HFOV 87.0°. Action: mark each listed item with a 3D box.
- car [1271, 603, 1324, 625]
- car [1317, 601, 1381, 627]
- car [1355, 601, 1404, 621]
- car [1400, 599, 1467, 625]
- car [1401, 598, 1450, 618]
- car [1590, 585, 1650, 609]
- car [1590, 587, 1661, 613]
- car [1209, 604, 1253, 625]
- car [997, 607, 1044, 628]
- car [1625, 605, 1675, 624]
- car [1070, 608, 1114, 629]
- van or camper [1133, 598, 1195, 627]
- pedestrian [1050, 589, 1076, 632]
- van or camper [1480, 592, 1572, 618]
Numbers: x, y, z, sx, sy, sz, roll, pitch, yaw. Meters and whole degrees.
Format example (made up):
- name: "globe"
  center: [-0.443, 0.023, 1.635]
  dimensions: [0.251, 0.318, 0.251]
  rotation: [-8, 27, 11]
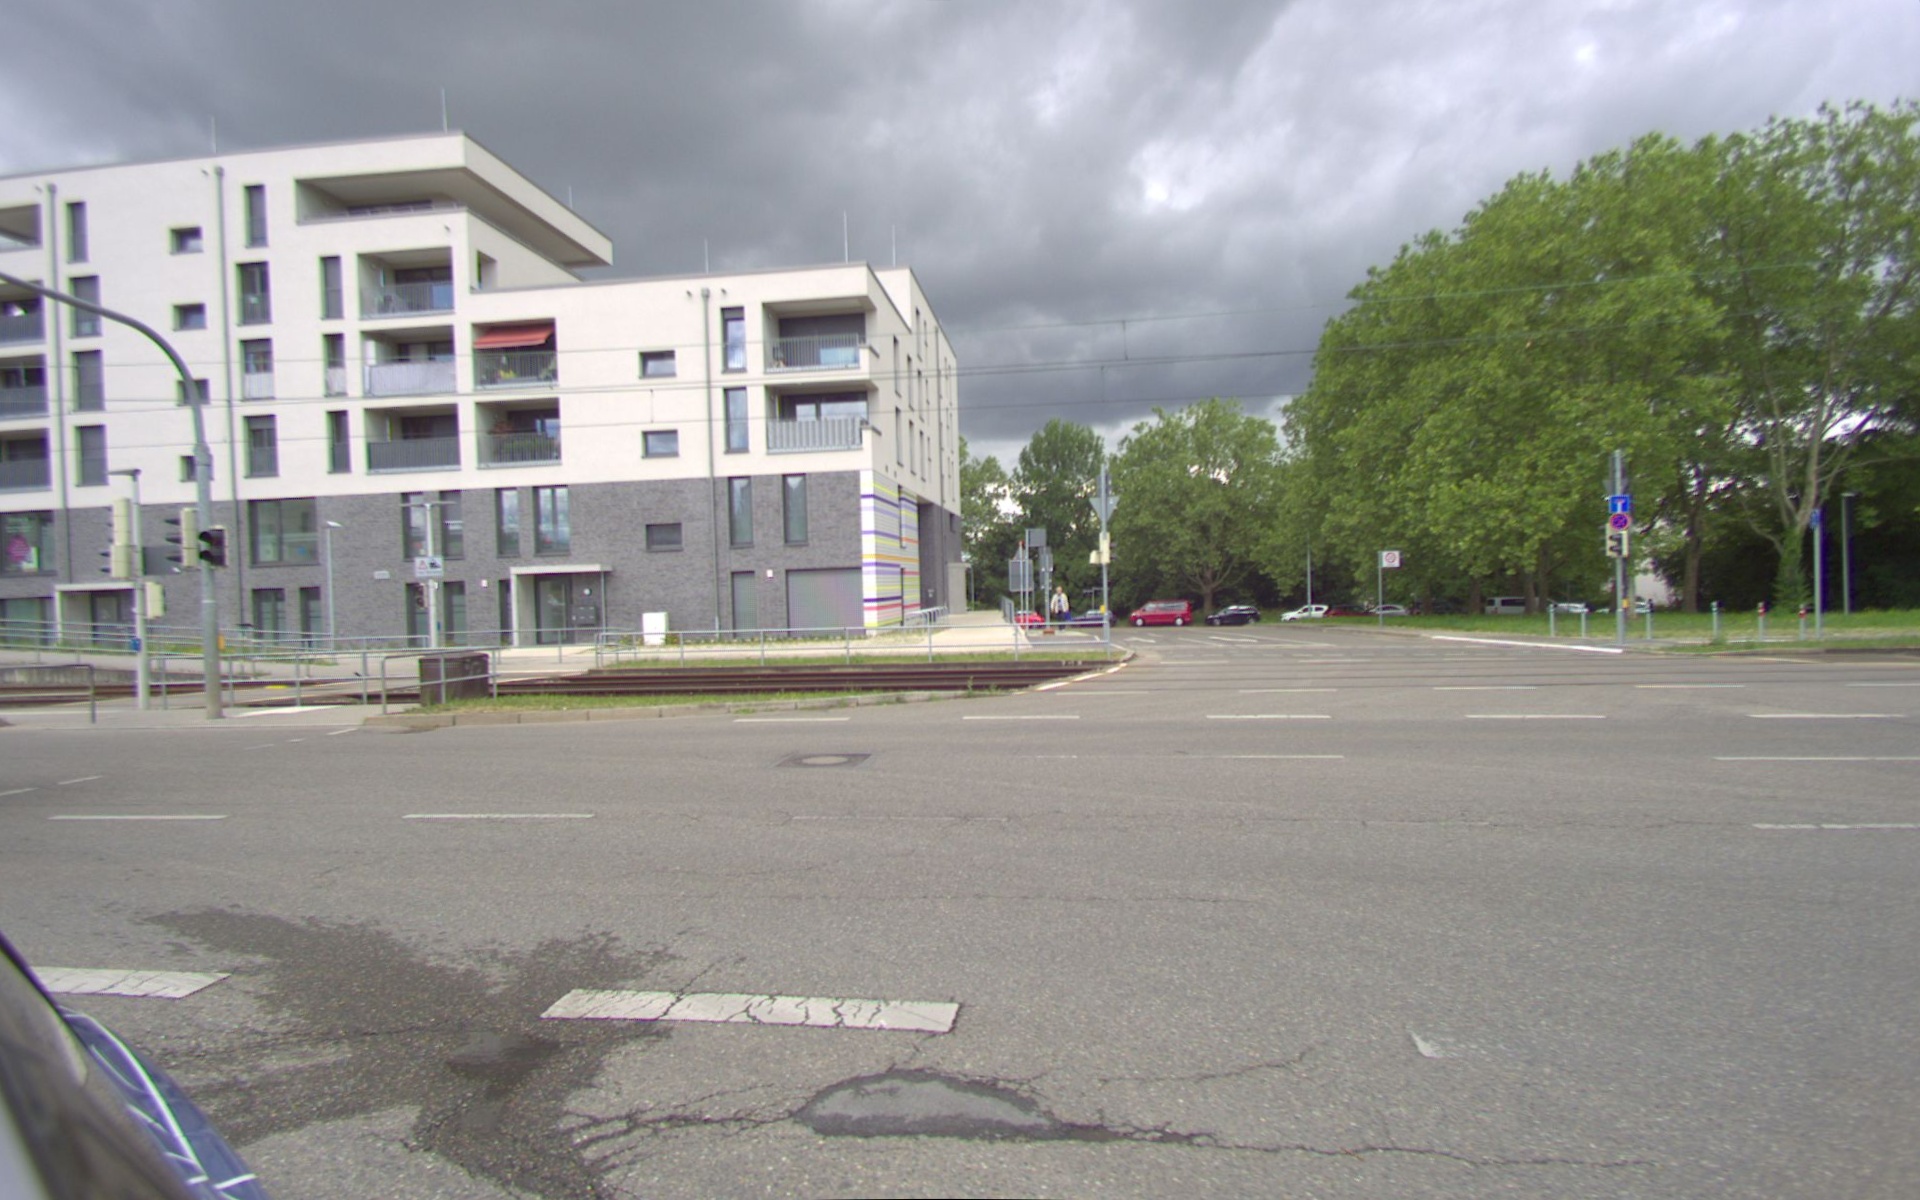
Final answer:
- name: "car"
  center: [25.224, 1.025, 75.730]
  dimensions: [3.562, 1.548, 1.865]
  rotation: [-2, 0, 14]
- name: "car"
  center: [26.441, 0.961, 68.847]
  dimensions: [3.741, 1.674, 1.661]
  rotation: [-1, 0, 8]
- name: "car"
  center: [30.866, 0.807, 74.467]
  dimensions: [3.110, 1.354, 1.441]
  rotation: [-2, 0, 14]
- name: "car"
  center: [31.983, 0.825, 68.440]
  dimensions: [3.739, 1.674, 1.662]
  rotation: [-1, 0, 6]
- name: "car"
  center: [39.364, 0.667, 85.626]
  dimensions: [1.638, 1.577, 3.457]
  rotation: [-1, 1, -38]
- name: "car"
  center: [50.677, -0.222, 77.783]
  dimensions: [3.770, 1.742, 1.648]
  rotation: [-1, 0, 30]
- name: "car"
  center: [47.337, 0.007, 72.031]
  dimensions: [3.760, 1.661, 1.698]
  rotation: [-2, 0, 4]
- name: "car"
  center: [20.408, 1.093, 76.325]
  dimensions: [3.110, 1.513, 1.597]
  rotation: [-2, 0, 14]
- name: "car"
  center: [4.761, 1.361, 79.573]
  dimensions: [3.503, 1.510, 1.642]
  rotation: [-2, 0, 9]
- name: "car"
  center: [54.362, 1.149, 79.781]
  dimensions: [3.127, 1.354, 1.433]
  rotation: [-2, 0, 30]
- name: "car"
  center: [10.254, 1.438, 78.571]
  dimensions: [3.238, 1.513, 1.597]
  rotation: [-2, 0, 14]
- name: "van or camper"
  center: [15.642, 0.974, 77.434]
  dimensions: [4.516, 2.040, 2.038]
  rotation: [-2, 0, 14]
- name: "pedestrian"
  center: [4.067, 0.404, 39.939]
  dimensions: [0.980, 1.682, 0.854]
  rotation: [-1, 0, 6]
- name: "van or camper"
  center: [37.904, 0.341, 67.889]
  dimensions: [4.948, 1.545, 1.860]
  rotation: [-2, 0, 8]
